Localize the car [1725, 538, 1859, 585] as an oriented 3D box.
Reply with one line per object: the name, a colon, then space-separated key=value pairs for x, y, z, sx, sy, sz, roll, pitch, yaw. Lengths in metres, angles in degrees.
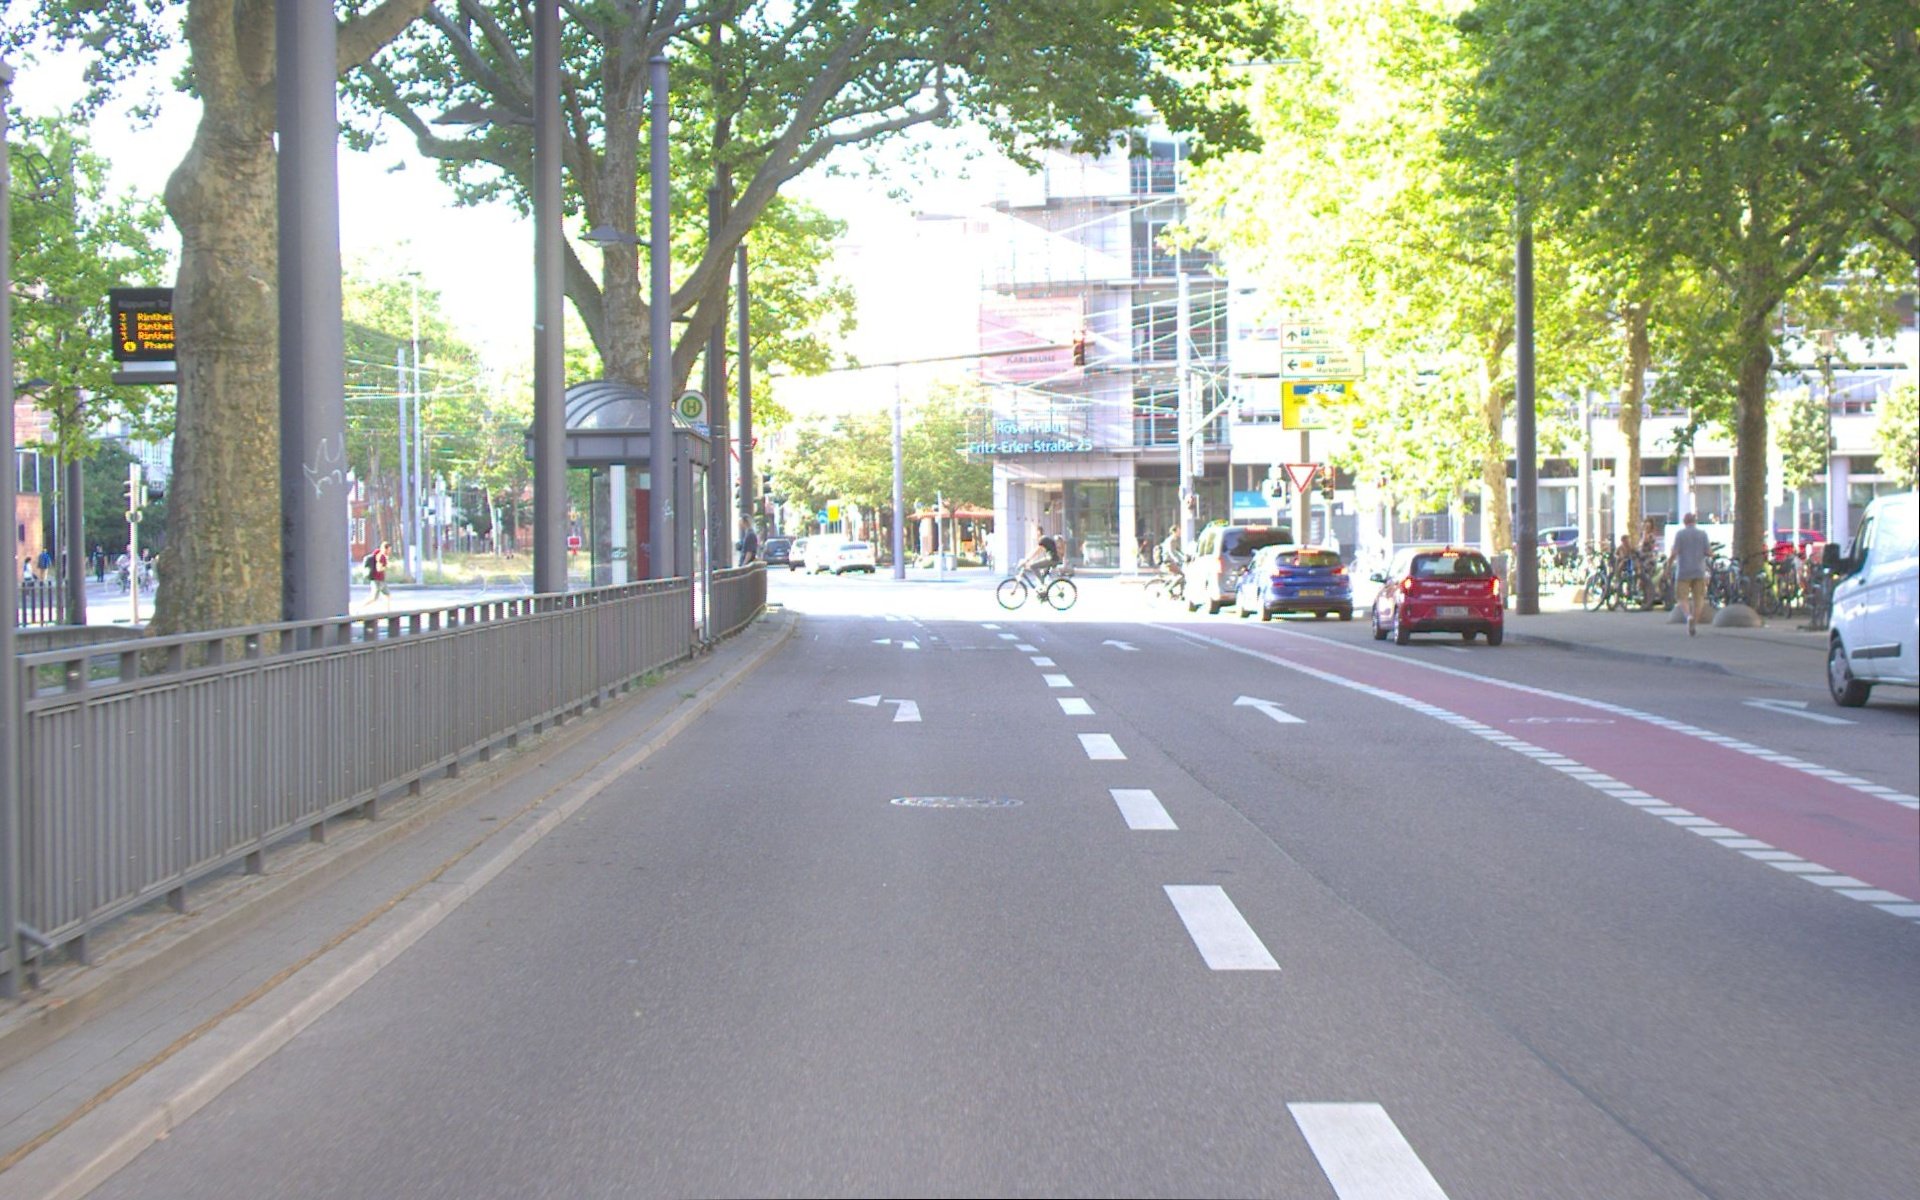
car: x=28.939 y=-1.331 z=119.702 sx=4.241 sy=1.555 sz=1.795 roll=-1 pitch=1 yaw=2

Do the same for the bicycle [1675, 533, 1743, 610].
bicycle: x=12.532 y=-0.487 z=57.539 sx=0.595 sy=1.260 sz=1.877 roll=-1 pitch=1 yaw=-4

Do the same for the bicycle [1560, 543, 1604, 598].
bicycle: x=12.203 y=-0.576 z=67.450 sx=0.627 sy=1.053 sz=1.572 roll=-1 pitch=1 yaw=2

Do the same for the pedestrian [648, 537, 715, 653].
pedestrian: x=-3.367 y=-0.061 z=41.632 sx=0.734 sy=1.383 sz=0.640 roll=1 pitch=0 yaw=1

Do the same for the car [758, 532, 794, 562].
car: x=-10.645 y=-3.079 z=198.433 sx=1.993 sy=1.656 sz=4.001 roll=-1 pitch=1 yaw=-4

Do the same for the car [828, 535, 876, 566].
car: x=-4.880 y=-2.236 z=154.711 sx=1.993 sy=1.327 sz=4.001 roll=-1 pitch=1 yaw=-4

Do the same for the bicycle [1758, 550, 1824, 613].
bicycle: x=13.924 y=-0.311 z=57.662 sx=0.595 sy=1.028 sz=1.655 roll=-1 pitch=1 yaw=-4

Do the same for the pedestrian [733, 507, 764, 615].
pedestrian: x=-3.745 y=-0.688 z=60.974 sx=0.509 sy=1.894 sz=0.760 roll=1 pitch=0 yaw=-3

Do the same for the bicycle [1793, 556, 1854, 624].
bicycle: x=12.878 y=-0.159 z=51.313 sx=0.451 sy=0.977 sz=1.762 roll=-1 pitch=1 yaw=0

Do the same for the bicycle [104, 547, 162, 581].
bicycle: x=-31.246 y=-1.354 z=129.900 sx=2.090 sy=1.235 sz=0.453 roll=-2 pitch=1 yaw=-39

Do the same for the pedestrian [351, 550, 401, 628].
pedestrian: x=-12.985 y=-0.248 z=76.436 sx=1.073 sy=1.709 sz=0.628 roll=0 pitch=0 yaw=-7

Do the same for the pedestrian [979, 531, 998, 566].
pedestrian: x=1.227 y=-2.176 z=146.034 sx=0.739 sy=1.460 sz=0.537 roll=-1 pitch=1 yaw=-5

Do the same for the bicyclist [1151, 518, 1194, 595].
bicyclist: x=4.925 y=-1.003 z=79.655 sx=0.849 sy=1.761 sz=0.753 roll=-1 pitch=1 yaw=-5

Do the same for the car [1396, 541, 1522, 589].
car: x=17.490 y=-1.237 z=120.714 sx=4.241 sy=1.596 sz=1.795 roll=-1 pitch=1 yaw=5

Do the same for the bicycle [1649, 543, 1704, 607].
bicycle: x=13.025 y=-0.462 z=62.439 sx=0.596 sy=1.112 sz=1.824 roll=-1 pitch=1 yaw=24

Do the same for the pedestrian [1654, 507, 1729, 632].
pedestrian: x=10.632 y=-0.446 z=49.984 sx=0.872 sy=1.779 sz=0.809 roll=-1 pitch=1 yaw=-3

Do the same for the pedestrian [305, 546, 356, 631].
pedestrian: x=-13.479 y=-0.246 z=73.597 sx=1.071 sy=1.800 sz=0.758 roll=0 pitch=0 yaw=-11

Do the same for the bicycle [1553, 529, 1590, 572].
bicycle: x=14.114 y=-1.152 z=79.401 sx=0.450 sy=0.979 sz=1.477 roll=-1 pitch=1 yaw=-5

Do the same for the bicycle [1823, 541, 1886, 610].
bicycle: x=15.025 y=-0.421 z=57.776 sx=0.502 sy=1.133 sz=1.655 roll=-1 pitch=1 yaw=-4

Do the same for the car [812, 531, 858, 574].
car: x=-5.899 y=-2.232 z=161.498 sx=1.993 sy=1.985 sz=4.001 roll=-1 pitch=1 yaw=-4

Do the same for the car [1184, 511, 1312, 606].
car: x=6.155 y=-0.910 z=74.147 sx=1.993 sy=1.959 sz=5.138 roll=1 pitch=1 yaw=-4

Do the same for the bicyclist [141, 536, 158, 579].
bicyclist: x=-32.105 y=-1.681 z=136.168 sx=0.593 sy=1.670 sz=0.790 roll=-1 pitch=1 yaw=-10

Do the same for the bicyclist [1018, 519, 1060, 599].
bicyclist: x=1.790 y=-0.933 z=78.171 sx=0.849 sy=1.779 sz=0.753 roll=-1 pitch=1 yaw=-5

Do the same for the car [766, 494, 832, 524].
car: x=-10.011 y=-5.635 z=213.394 sx=3.763 sy=1.744 sz=1.781 roll=1 pitch=0 yaw=11

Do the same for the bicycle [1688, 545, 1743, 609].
bicycle: x=13.670 y=-0.426 z=62.198 sx=0.607 sy=1.112 sz=1.824 roll=-1 pitch=1 yaw=24

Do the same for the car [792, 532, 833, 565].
car: x=-7.594 y=-2.649 z=176.988 sx=1.993 sy=1.656 sz=4.001 roll=-1 pitch=1 yaw=-4

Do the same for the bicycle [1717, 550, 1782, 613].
bicycle: x=13.226 y=-0.317 z=57.605 sx=0.595 sy=1.028 sz=1.655 roll=-1 pitch=1 yaw=-4

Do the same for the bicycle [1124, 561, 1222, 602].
bicycle: x=4.925 y=-0.437 z=79.653 sx=2.177 sy=0.930 sz=0.668 roll=-1 pitch=1 yaw=-5

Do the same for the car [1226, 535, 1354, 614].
car: x=6.443 y=-0.521 z=67.543 sx=1.764 sy=1.459 sz=4.218 roll=-1 pitch=1 yaw=-5

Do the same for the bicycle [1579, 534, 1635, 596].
bicycle: x=11.951 y=-0.657 z=63.452 sx=0.596 sy=1.112 sz=1.824 roll=-1 pitch=1 yaw=24

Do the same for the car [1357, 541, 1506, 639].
car: x=7.243 y=-0.184 z=53.063 sx=1.558 sy=1.459 sz=3.622 roll=0 pitch=1 yaw=-4

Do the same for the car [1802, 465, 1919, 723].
car: x=9.026 y=-0.103 z=30.126 sx=2.123 sy=2.127 sz=5.289 roll=-1 pitch=1 yaw=2

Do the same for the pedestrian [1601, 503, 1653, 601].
pedestrian: x=12.227 y=-0.880 z=63.017 sx=0.807 sy=1.779 sz=0.657 roll=-1 pitch=1 yaw=23

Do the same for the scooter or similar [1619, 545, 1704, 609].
scooter or similar: x=13.144 y=-0.422 z=64.406 sx=1.252 sy=1.138 sz=0.916 roll=2 pitch=-1 yaw=-17

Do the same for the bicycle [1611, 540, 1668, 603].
bicycle: x=12.402 y=-0.521 z=62.696 sx=0.596 sy=1.112 sz=1.947 roll=-1 pitch=1 yaw=24

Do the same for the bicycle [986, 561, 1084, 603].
bicycle: x=1.705 y=-0.408 z=78.160 sx=2.177 sy=0.930 sz=0.668 roll=-1 pitch=1 yaw=-5
